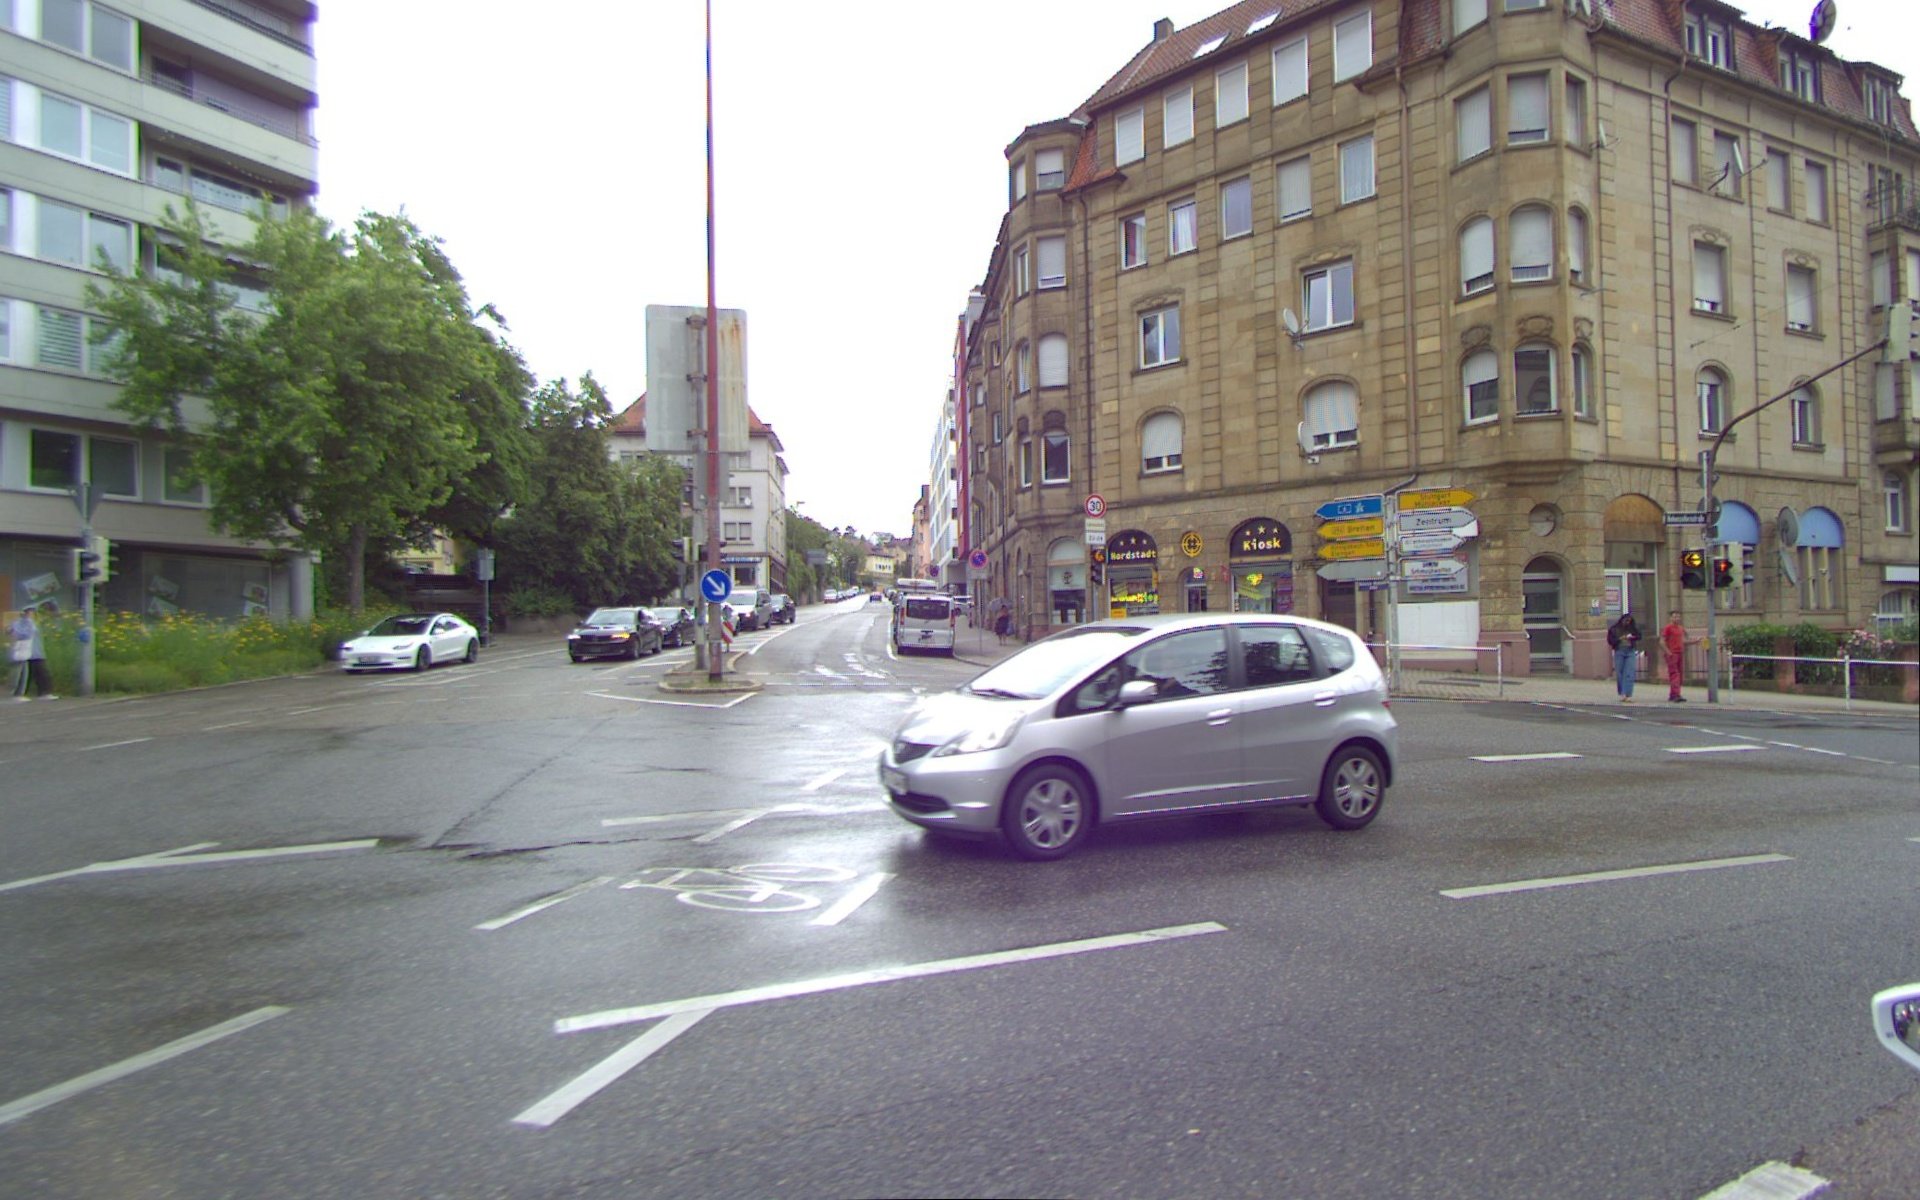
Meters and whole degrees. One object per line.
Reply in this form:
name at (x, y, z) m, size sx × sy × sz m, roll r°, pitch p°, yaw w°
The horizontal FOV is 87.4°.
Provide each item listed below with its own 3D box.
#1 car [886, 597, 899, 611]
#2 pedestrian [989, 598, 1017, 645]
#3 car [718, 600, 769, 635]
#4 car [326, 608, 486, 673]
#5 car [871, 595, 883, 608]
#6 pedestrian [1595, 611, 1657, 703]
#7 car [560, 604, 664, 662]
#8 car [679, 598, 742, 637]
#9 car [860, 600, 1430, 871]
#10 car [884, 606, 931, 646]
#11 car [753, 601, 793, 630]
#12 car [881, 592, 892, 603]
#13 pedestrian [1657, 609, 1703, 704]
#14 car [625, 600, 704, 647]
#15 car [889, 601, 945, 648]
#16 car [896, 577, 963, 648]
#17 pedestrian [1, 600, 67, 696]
car at (-9.146, 0.578, 136.120) m, size 1.666 × 1.727 × 4.212 m, roll 2°, pitch -1°, yaw -5°
pedestrian at (1.568, 0.795, 36.503) m, size 0.774 × 1.683 × 0.665 m, roll 1°, pitch 0°, yaw -30°
car at (-10.516, 0.880, 48.991) m, size 1.705 × 1.558 × 4.153 m, roll 3°, pitch -1°, yaw -2°
car at (-14.363, 1.004, 26.377) m, size 1.877 × 1.511 × 4.392 m, roll 1°, pitch -1°, yaw -2°
car at (-12.082, 0.214, 145.556) m, size 1.666 × 1.727 × 4.212 m, roll 2°, pitch -1°, yaw -5°
pedestrian at (12.832, 1.081, 19.380) m, size 0.812 × 1.725 × 0.639 m, roll 1°, pitch 0°, yaw 16°
car at (-9.851, 0.901, 28.751) m, size 1.732 × 1.511 × 4.023 m, roll 0°, pitch -1°, yaw -2°
car at (-10.332, 0.711, 41.896) m, size 1.704 × 1.558 × 4.301 m, roll 0°, pitch -1°, yaw -2°
car at (1.358, 0.816, 7.246) m, size 3.818 × 1.538 × 1.620 m, roll 1°, pitch -1°, yaw -25°
car at (-2.459, 1.190, 46.437) m, size 1.962 × 1.727 × 4.212 m, roll 2°, pitch -1°, yaw -5°
car at (-10.686, 0.890, 57.619) m, size 1.704 × 1.558 × 4.153 m, roll 0°, pitch -1°, yaw -2°
car at (-12.085, -0.442, 165.899) m, size 1.666 × 1.727 × 4.212 m, roll 2°, pitch -1°, yaw -5°
pedestrian at (13.892, 1.074, 19.372) m, size 0.682 × 1.797 × 0.522 m, roll 1°, pitch 0°, yaw 37°
car at (-10.266, 0.795, 35.152) m, size 1.732 × 1.511 × 4.023 m, roll 0°, pitch -1°, yaw -2°
car at (-1.751, 0.940, 39.603) m, size 1.962 × 1.727 × 4.378 m, roll 2°, pitch -1°, yaw -5°
car at (-1.137, 0.429, 34.507) m, size 1.962 × 2.197 × 4.800 m, roll 2°, pitch -1°, yaw -5°
pedestrian at (-16.907, 0.865, 18.347) m, size 0.612 × 1.715 × 0.620 m, roll 1°, pitch 0°, yaw 11°
